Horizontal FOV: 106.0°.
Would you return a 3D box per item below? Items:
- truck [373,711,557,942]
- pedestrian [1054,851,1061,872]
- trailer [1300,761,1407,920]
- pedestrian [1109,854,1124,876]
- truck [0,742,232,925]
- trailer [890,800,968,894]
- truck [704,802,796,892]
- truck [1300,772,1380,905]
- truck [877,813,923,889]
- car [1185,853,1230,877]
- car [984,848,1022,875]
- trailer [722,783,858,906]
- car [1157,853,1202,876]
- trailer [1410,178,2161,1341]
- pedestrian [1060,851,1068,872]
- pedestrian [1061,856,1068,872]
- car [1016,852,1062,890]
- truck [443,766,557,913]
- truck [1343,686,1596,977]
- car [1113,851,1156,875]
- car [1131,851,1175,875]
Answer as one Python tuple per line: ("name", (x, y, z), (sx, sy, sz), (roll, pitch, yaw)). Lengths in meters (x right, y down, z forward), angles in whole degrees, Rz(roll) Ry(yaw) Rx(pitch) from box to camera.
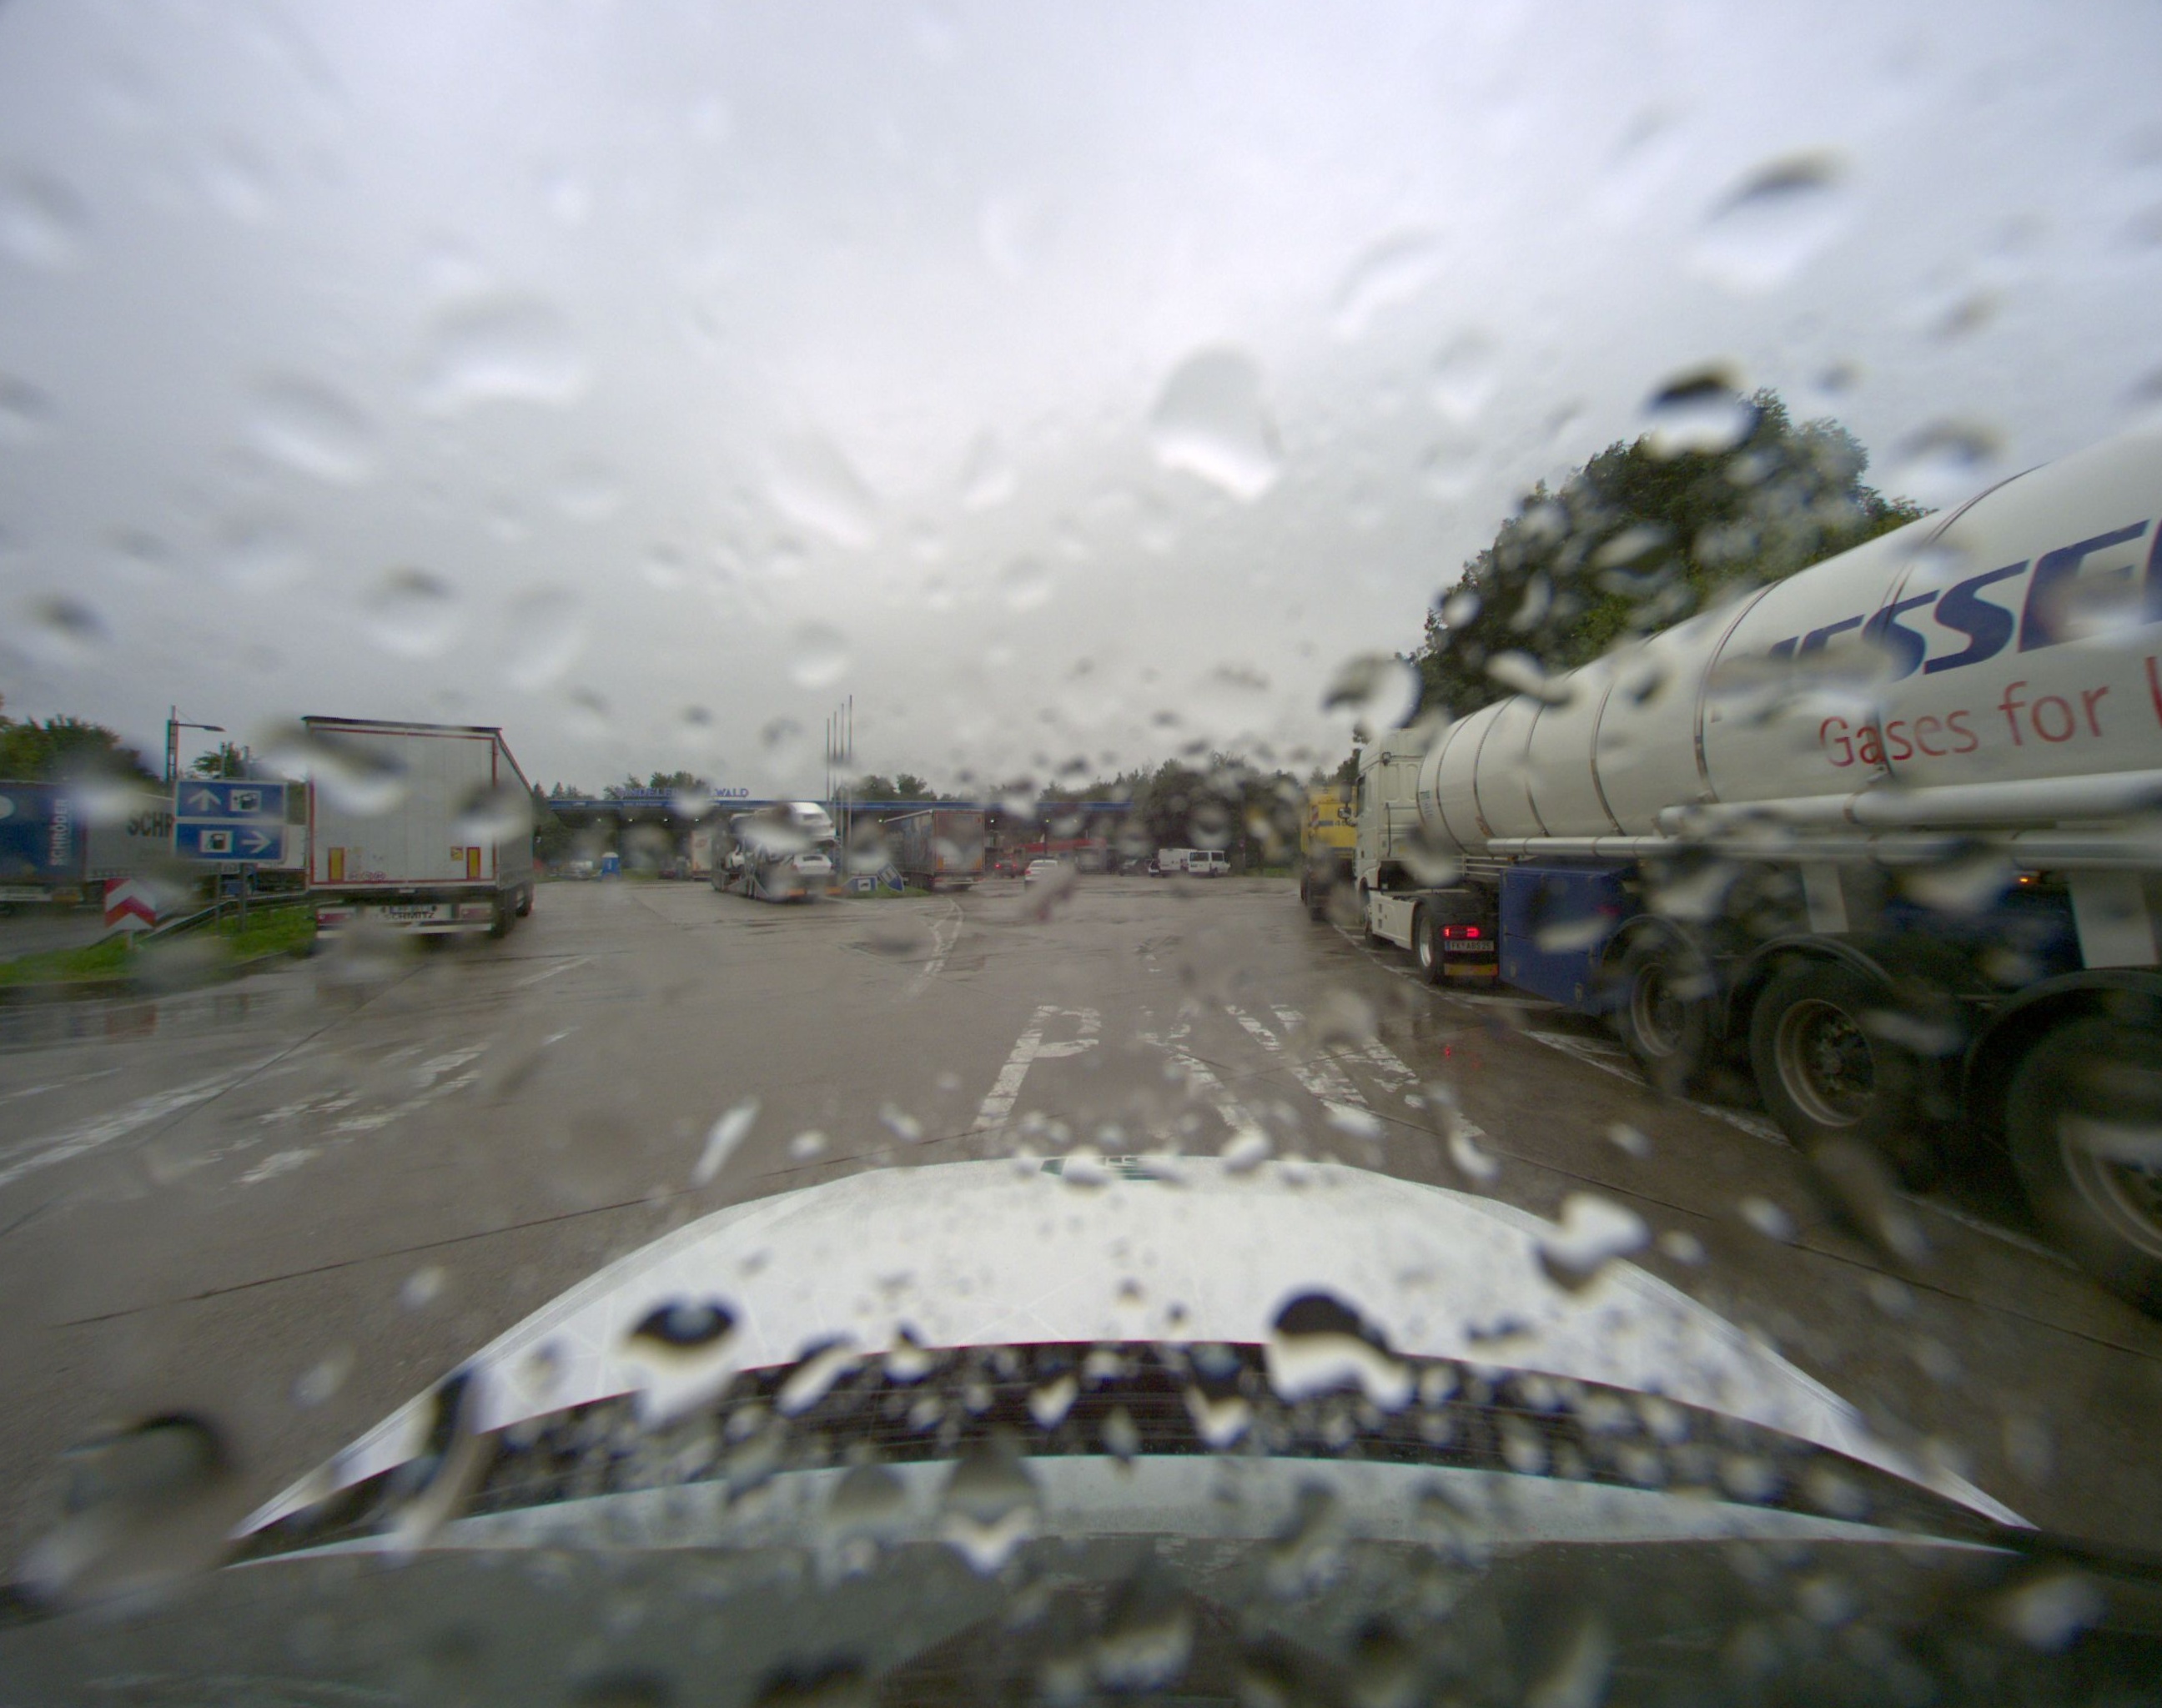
("truck", (-14.098, -0.432, 19.514), (2.387, 3.874, 12.328), (-1, 0, -32))
("pedestrian", (-2.337, 0.777, 79.827), (0.586, 2.014, 0.636), (2, -4, -7))
("trailer", (6.897, -0.276, 21.366), (2.166, 3.392, 7.594), (-1, 0, 15))
("pedestrian", (3.073, 0.954, 70.737), (0.946, 1.920, 1.094), (0, 0, 21))
("truck", (-34.176, -0.539, 28.479), (4.831, 5.306, 10.941), (0, -1, -39))
("trailer", (-8.536, -0.260, 44.698), (2.003, 4.559, 9.730), (0, -1, -24))
("truck", (-17.193, -0.291, 41.961), (3.254, 4.189, 8.363), (1, -1, -30))
("truck", (8.071, -0.423, 25.722), (2.165, 3.828, 4.158), (-1, 0, 15))
("truck", (-11.459, -0.137, 51.350), (1.997, 4.550, 4.757), (0, -1, -24))
("car", (9.486, 0.775, 60.774), (2.093, 1.728, 4.024), (-1, 0, 29))
("car", (-6.442, 0.659, 66.953), (2.001, 2.014, 3.970), (3, -4, -22))
("trailer", (-12.261, -0.291, 33.349), (3.235, 4.189, 11.419), (1, -1, -30))
("car", (7.648, 0.803, 62.778), (2.093, 1.728, 4.024), (-1, 0, 29))
("trailer", (4.727, -0.263, 5.600), (2.119, 3.440, 10.276), (-1, 0, 8))
("pedestrian", (-1.611, 0.712, 78.630), (0.667, 2.014, 0.743), (1, -4, 2))
("pedestrian", (-1.509, 0.932, 76.233), (0.607, 1.539, 0.594), (0, -2, -5))
("car", (-1.945, 0.789, 38.708), (1.987, 1.679, 3.998), (-1, 0, -1))
("truck", (-17.567, -0.371, 24.972), (2.387, 3.874, 6.940), (-1, 0, -32))
("truck", (5.471, -0.254, 12.270), (2.134, 3.513, 4.657), (-1, -1, 8))
("car", (4.650, 0.753, 70.306), (2.093, 1.937, 4.217), (-1, 0, 29))
("car", (5.906, 0.720, 66.404), (2.093, 1.937, 4.217), (-1, 0, 29))
